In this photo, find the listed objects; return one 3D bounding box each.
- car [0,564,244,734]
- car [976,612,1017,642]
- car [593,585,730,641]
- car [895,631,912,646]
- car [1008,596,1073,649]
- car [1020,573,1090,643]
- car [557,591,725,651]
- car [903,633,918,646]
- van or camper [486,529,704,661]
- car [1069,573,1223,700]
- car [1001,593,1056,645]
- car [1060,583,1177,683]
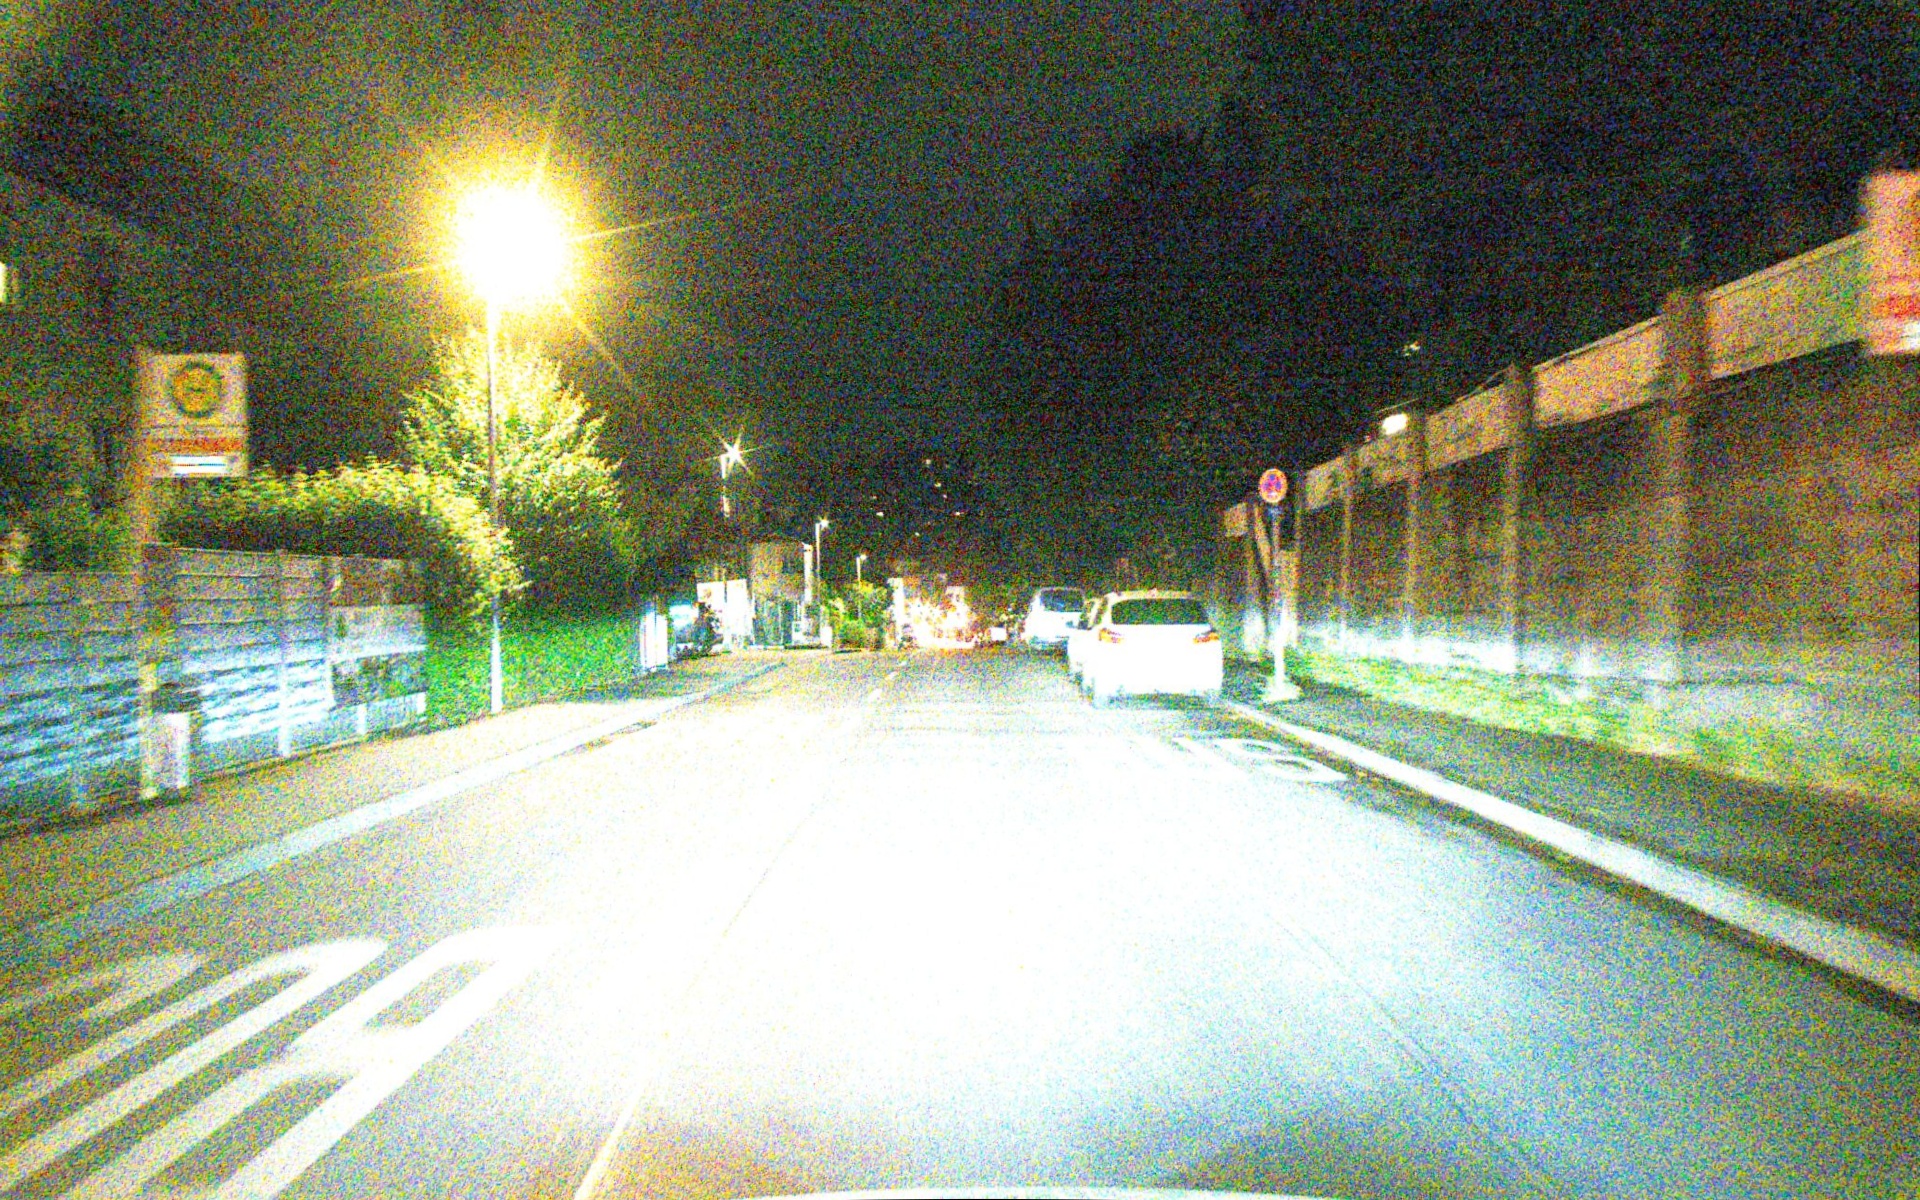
[{"bbox_3d":[-8.718,0.400,16.213,1.936,1.464,3.996,1,0,-5],"label":"car"},{"bbox_3d":[1.887,1.424,86.262,1.728,1.501,4.272,2,-2,-4],"label":"car"},{"bbox_3d":[-8.878,0.372,49.484,3.733,1.582,1.927,1,0,-1],"label":"car"},{"bbox_3d":[-6.036,4.062,176.008,1.718,1.567,3.727,0,-2,-4],"label":"car"},{"bbox_3d":[2.453,0.689,51.089,1.708,1.496,4.255,2,-1,-1],"label":"car"},{"bbox_3d":[2.570,0.229,45.604,1.683,1.792,4.758,1,0,0],"label":"car"},{"bbox_3d":[-8.943,0.598,46.649,4.326,1.642,2.065,0,-2,1],"label":"car"},{"bbox_3d":[-5.778,4.598,193.121,1.717,1.567,3.729,0,-2,-1],"label":"car"},{"bbox_3d":[-9.387,-0.152,42.902,5.301,3.165,2.127,-2,0,-10],"label":"van or camper"},{"bbox_3d":[2.570,0.469,23.818,1.719,1.621,4.728,1,0,1],"label":"car"},{"bbox_3d":[2.323,0.690,56.713,1.794,1.693,4.619,0,-2,2],"label":"car"},{"bbox_3d":[2.656,0.513,28.328,1.576,1.486,3.716,-2,1,0],"label":"car"}]
